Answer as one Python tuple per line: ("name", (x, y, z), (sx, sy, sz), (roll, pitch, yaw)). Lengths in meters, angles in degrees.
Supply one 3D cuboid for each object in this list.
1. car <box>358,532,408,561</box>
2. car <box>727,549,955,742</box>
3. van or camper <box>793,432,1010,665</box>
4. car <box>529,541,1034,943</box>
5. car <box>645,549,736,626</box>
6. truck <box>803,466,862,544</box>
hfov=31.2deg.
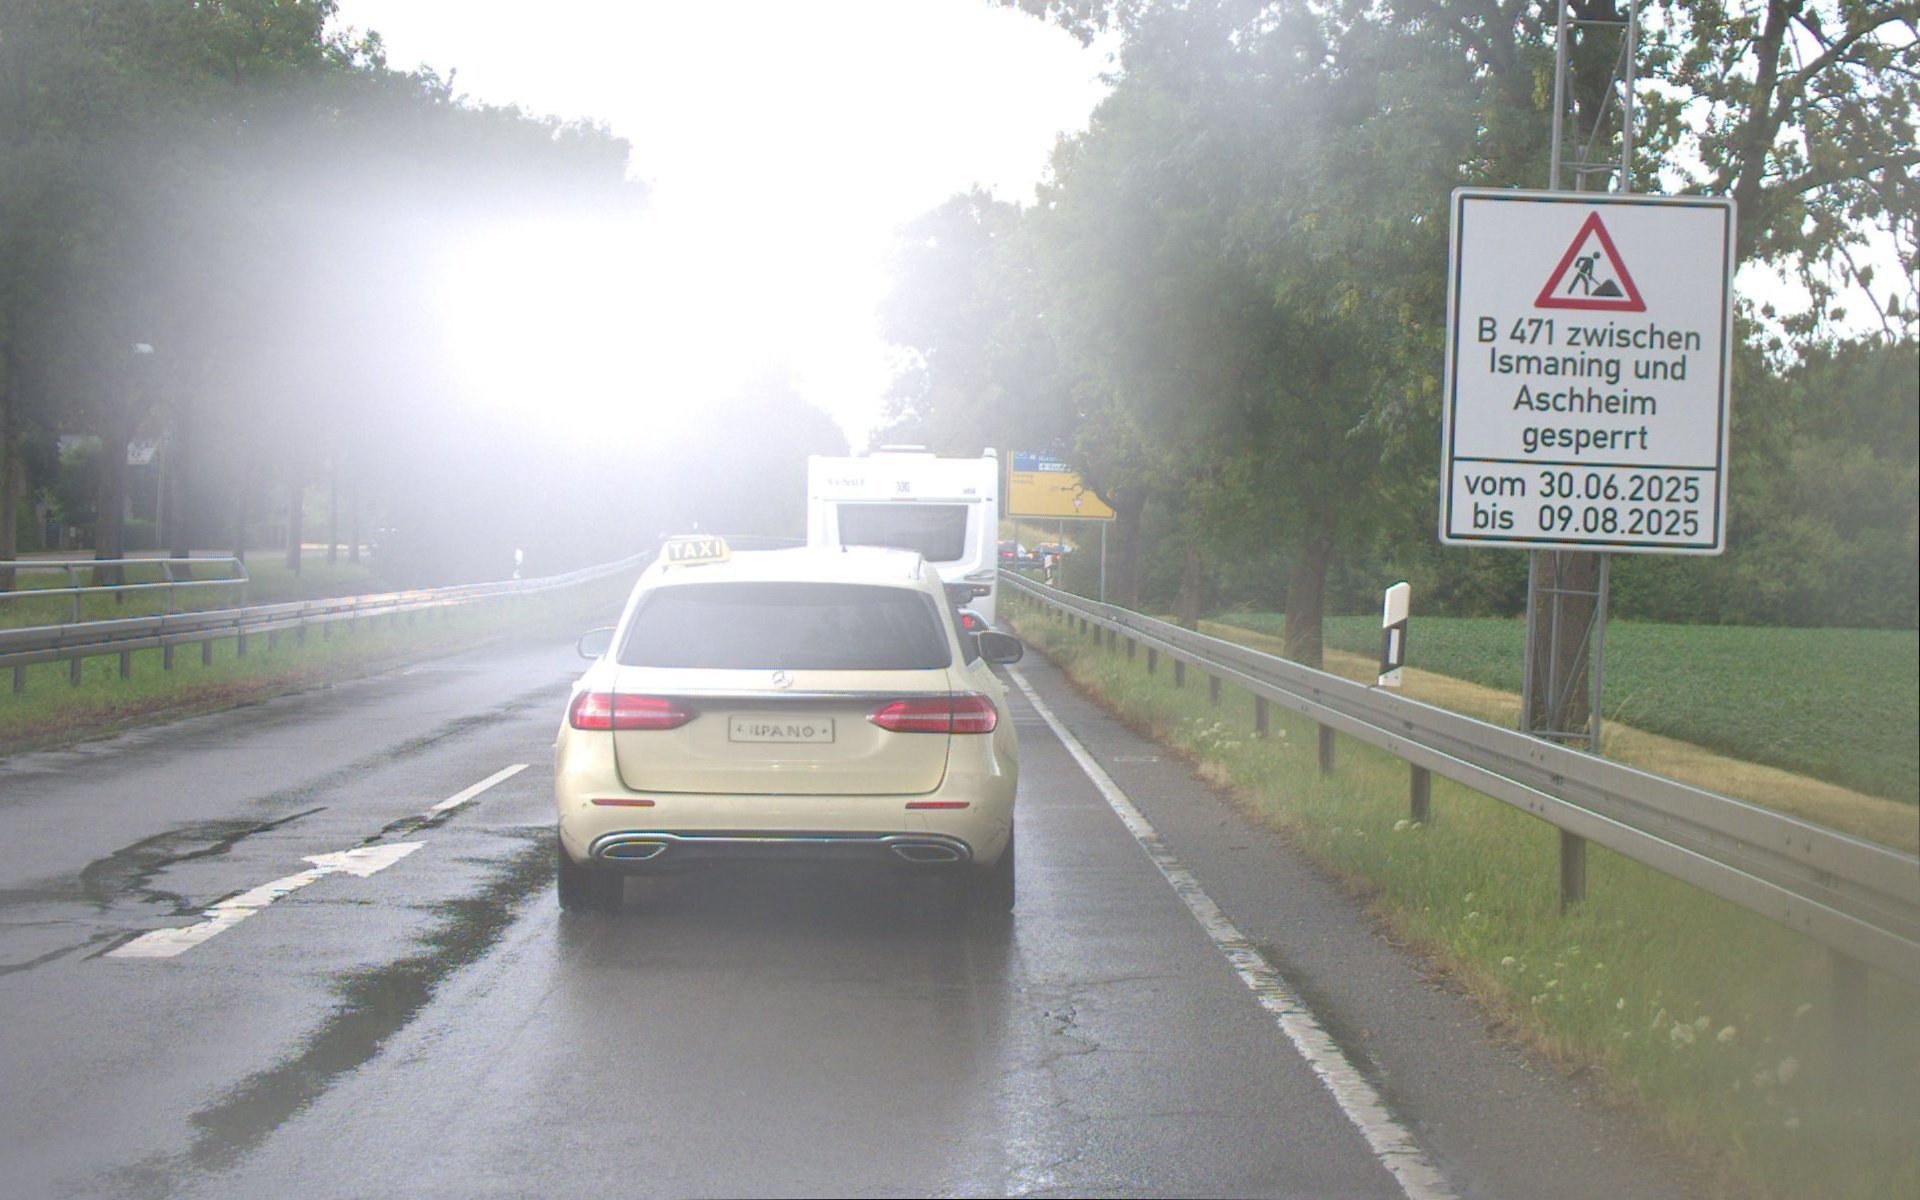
("car", (-29.002, -2.700, 172.804), (1.785, 1.411, 4.000), (2, 1, 0))
("car", (-0.899, 0.315, 27.819), (1.664, 1.426, 4.000), (0, 1, 0))
("van or camper", (-0.664, -0.653, 42.977), (2.489, 2.676, 5.700), (1, 1, 0))
("car", (-0.645, 0.491, 14.711), (1.865, 1.471, 4.000), (0, 1, 0))
("car", (-5.864, -0.289, 75.090), (1.764, 1.614, 4.000), (0, 1, -1))
("truck", (-5.745, -4.273, 155.761), (2.576, 3.440, 9.557), (0, 1, -2))
